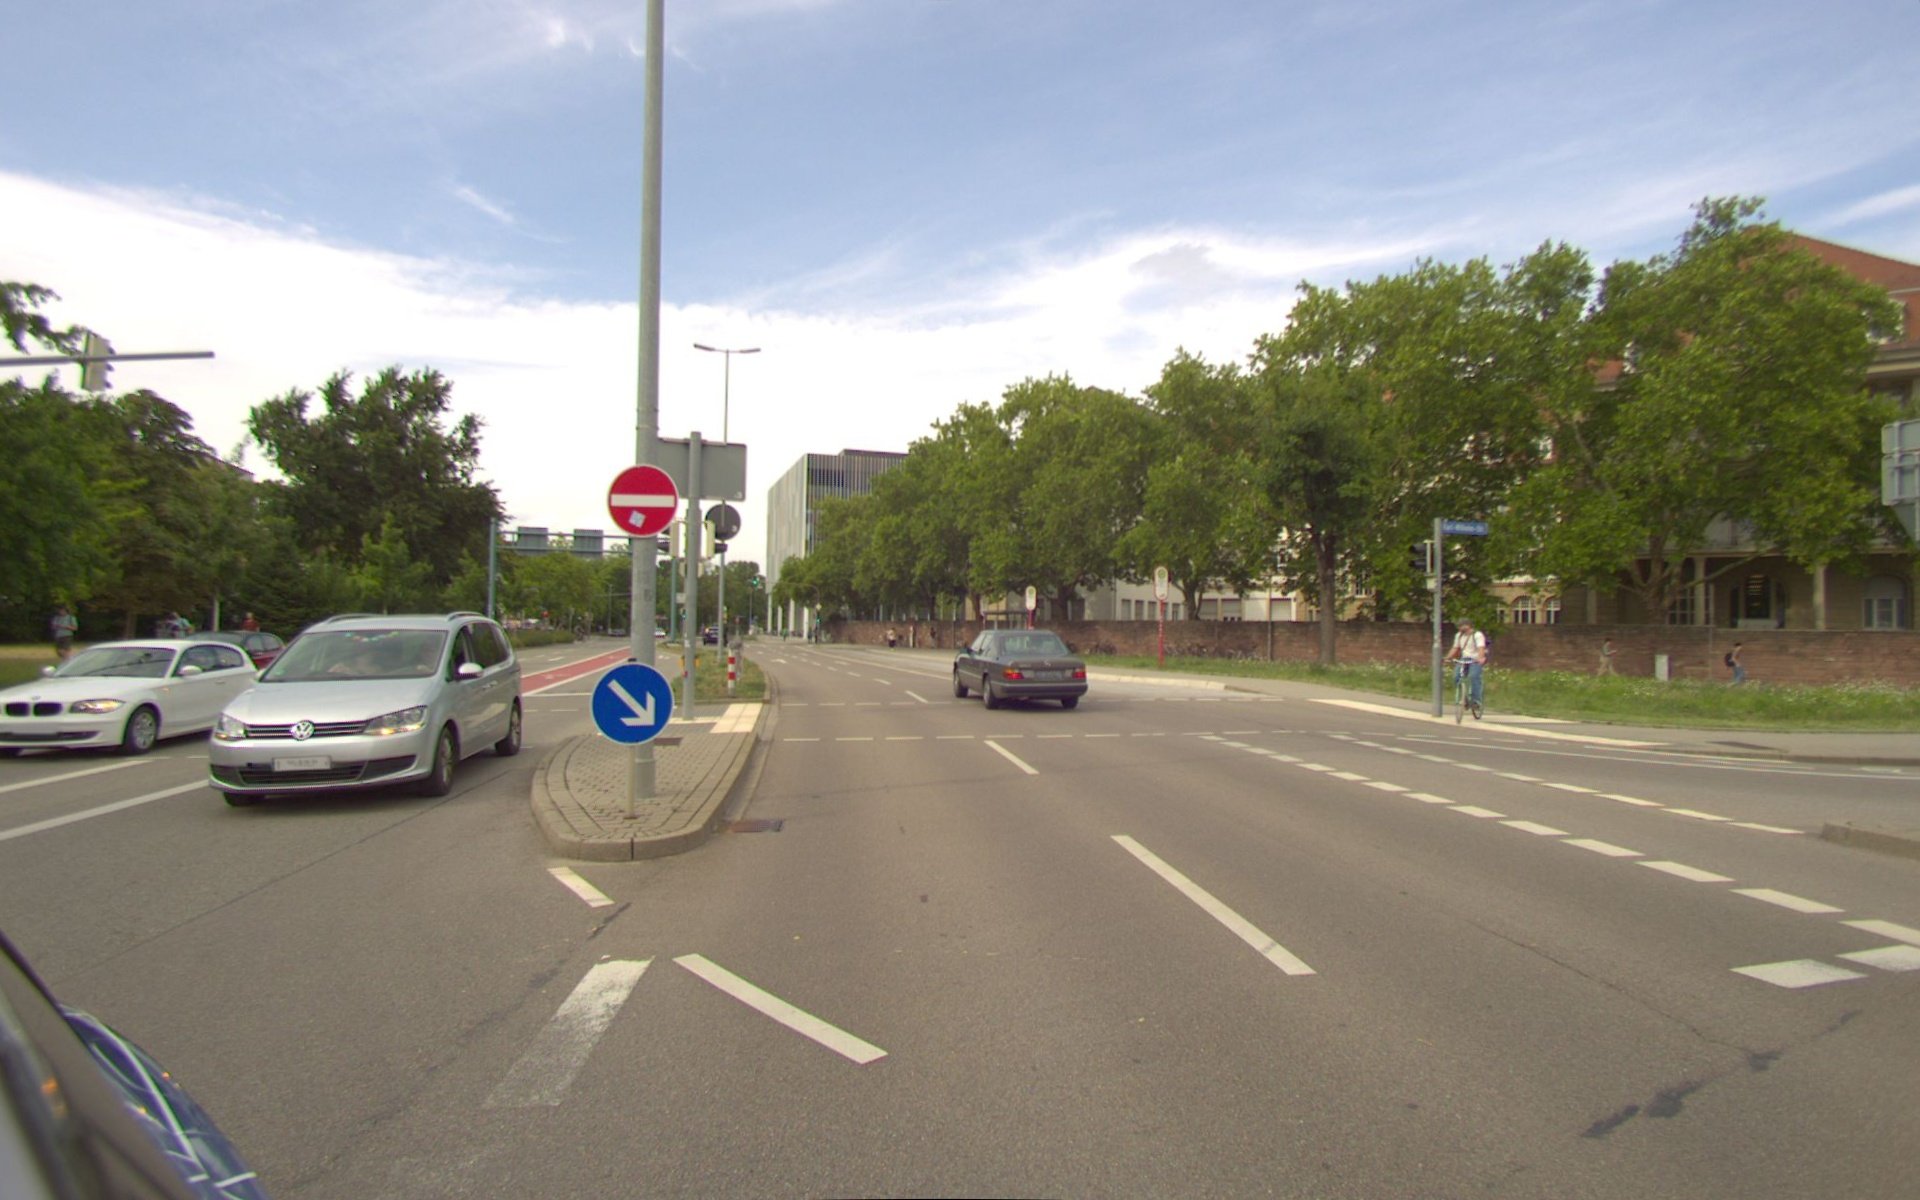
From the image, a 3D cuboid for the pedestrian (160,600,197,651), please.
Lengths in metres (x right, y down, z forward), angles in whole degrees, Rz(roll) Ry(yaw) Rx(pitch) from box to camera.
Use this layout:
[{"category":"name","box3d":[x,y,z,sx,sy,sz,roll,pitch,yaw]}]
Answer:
[{"category":"pedestrian","box3d":[-26.887,0.886,34.834,0.828,1.724,0.697,-1,-1,-18]}]

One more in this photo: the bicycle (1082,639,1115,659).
[{"category":"bicycle","box3d":[8.468,3.002,62.120,0.746,1.198,2.103,5,-4,-36]}]

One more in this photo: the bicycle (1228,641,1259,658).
[{"category":"bicycle","box3d":[15.155,2.661,54.153,0.353,0.870,1.711,5,-4,-39]}]

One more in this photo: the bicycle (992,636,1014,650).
[{"category":"bicycle","box3d":[2.997,2.978,70.372,0.650,0.894,1.580,-2,-1,-34]}]

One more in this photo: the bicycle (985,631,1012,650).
[{"category":"bicycle","box3d":[2.638,2.790,68.804,0.757,1.198,2.073,0,-4,36]}]

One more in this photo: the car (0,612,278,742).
[{"category":"car","box3d":[-11.255,0.922,13.713,1.732,1.469,4.232,-1,-1,-9]}]

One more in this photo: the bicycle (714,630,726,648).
[{"category":"bicycle","box3d":[-17.008,2.750,71.653,0.746,1.198,2.103,3,-3,-12]}]

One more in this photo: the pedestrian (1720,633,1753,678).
[{"category":"pedestrian","box3d":[29.173,2.095,38.010,0.775,1.667,0.574,-1,-1,16]}]

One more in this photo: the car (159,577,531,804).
[{"category":"car","box3d":[-5.798,0.736,10.263,1.795,1.747,4.539,-1,-1,-12]}]

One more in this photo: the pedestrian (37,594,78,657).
[{"category":"pedestrian","box3d":[-25.271,0.711,28.355,0.535,1.709,0.697,3,-2,-18]}]

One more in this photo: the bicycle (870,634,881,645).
[{"category":"bicycle","box3d":[-7.556,3.513,90.440,0.426,0.894,1.581,-2,-1,-25]}]

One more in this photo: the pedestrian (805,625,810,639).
[{"category":"pedestrian","box3d":[-15.806,3.332,104.968,0.395,1.468,0.475,-1,-1,-20]}]

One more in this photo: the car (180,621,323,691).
[{"category":"car","box3d":[-16.053,1.214,23.121,1.643,1.426,3.467,-1,-1,-16]}]

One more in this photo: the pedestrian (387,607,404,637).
[{"category":"pedestrian","box3d":[-33.047,1.297,59.245,0.702,1.724,0.697,-1,-1,-14]}]

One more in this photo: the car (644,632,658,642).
[{"category":"car","box3d":[-58.087,6.943,190.305,1.967,1.586,4.009,-1,-1,-11]}]

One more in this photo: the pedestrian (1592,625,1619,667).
[{"category":"pedestrian","box3d":[26.027,1.853,40.822,0.776,1.667,0.573,-1,-1,22]}]

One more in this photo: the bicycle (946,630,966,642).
[{"category":"bicycle","box3d":[-0.311,2.704,76.171,0.650,0.894,1.580,-2,-1,-34]}]

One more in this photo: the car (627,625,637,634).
[{"category":"car","box3d":[-72.814,6.542,224.458,1.966,2.029,4.012,-1,-1,-16]}]

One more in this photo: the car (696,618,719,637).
[{"category":"car","box3d":[-21.015,2.278,84.104,1.760,1.501,4.141,3,-2,-15]}]

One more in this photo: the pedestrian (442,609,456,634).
[{"category":"pedestrian","box3d":[-35.081,1.477,69.477,0.702,1.724,0.697,-1,-1,-14]}]

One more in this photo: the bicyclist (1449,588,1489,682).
[{"category":"bicyclist","box3d":[8.789,0.590,17.479,0.577,1.567,0.790,1,0,29]}]

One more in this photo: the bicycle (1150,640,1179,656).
[{"category":"bicycle","box3d":[11.749,2.782,58.210,0.353,0.870,1.826,5,-4,-37]}]

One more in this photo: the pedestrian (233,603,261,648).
[{"category":"pedestrian","box3d":[-27.953,1.000,39.678,0.702,1.724,0.697,-1,-1,-14]}]

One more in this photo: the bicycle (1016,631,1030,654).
[{"category":"bicycle","box3d":[2.837,1.906,45.758,0.499,0.943,1.972,1,0,-1]}]

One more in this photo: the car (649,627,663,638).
[{"category":"car","box3d":[-44.838,4.750,149.439,1.760,1.501,4.141,3,-2,-15]}]

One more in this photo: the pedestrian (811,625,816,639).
[{"category":"pedestrian","box3d":[-15.253,3.351,105.447,0.395,1.468,0.475,-1,-1,-20]}]

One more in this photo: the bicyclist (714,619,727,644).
[{"category":"bicyclist","box3d":[-16.979,2.234,71.681,0.765,1.724,1.088,3,-3,-12]}]

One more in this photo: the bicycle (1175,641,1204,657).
[{"category":"bicycle","box3d":[12.840,2.741,56.718,0.353,0.870,1.814,4,-4,-34]}]

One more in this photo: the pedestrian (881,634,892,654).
[{"category":"pedestrian","box3d":[-6.057,3.631,83.047,0.742,1.634,0.668,-1,-1,-20]}]

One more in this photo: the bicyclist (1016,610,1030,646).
[{"category":"bicyclist","box3d":[2.853,1.249,45.697,0.572,1.567,0.798,1,0,0]}]

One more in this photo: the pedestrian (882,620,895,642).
[{"category":"pedestrian","box3d":[-5.337,2.326,75.431,0.742,1.634,0.668,-1,-1,-20]}]

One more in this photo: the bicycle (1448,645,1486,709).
[{"category":"bicycle","box3d":[8.731,1.299,17.407,0.504,0.943,1.952,1,0,29]}]

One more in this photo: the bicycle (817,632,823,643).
[{"category":"bicycle","box3d":[-15.305,4.108,110.403,0.504,1.218,1.399,-1,-1,-15]}]

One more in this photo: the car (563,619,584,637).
[{"category":"car","box3d":[-45.343,3.232,118.693,1.966,2.029,4.012,-1,-1,-16]}]

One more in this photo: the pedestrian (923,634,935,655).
[{"category":"pedestrian","box3d":[-2.455,3.500,79.855,0.664,1.634,0.746,-2,-1,35]}]

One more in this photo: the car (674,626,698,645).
[{"category":"car","box3d":[-24.579,3.147,90.655,1.759,1.501,4.143,3,-2,-18]}]

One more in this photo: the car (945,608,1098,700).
[{"category":"car","box3d":[1.012,0.941,19.216,1.672,1.491,4.427,-1,-1,-13]}]

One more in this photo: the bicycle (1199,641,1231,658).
[{"category":"bicycle","box3d":[13.886,2.700,55.148,0.353,0.870,1.896,4,-4,-33]}]

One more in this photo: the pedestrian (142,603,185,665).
[{"category":"pedestrian","box3d":[-22.589,0.949,28.718,0.722,1.724,0.695,-1,-1,-11]}]

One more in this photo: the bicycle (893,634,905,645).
[{"category":"bicycle","box3d":[-5.148,3.301,85.152,0.426,0.894,1.581,-2,-1,-25]}]
